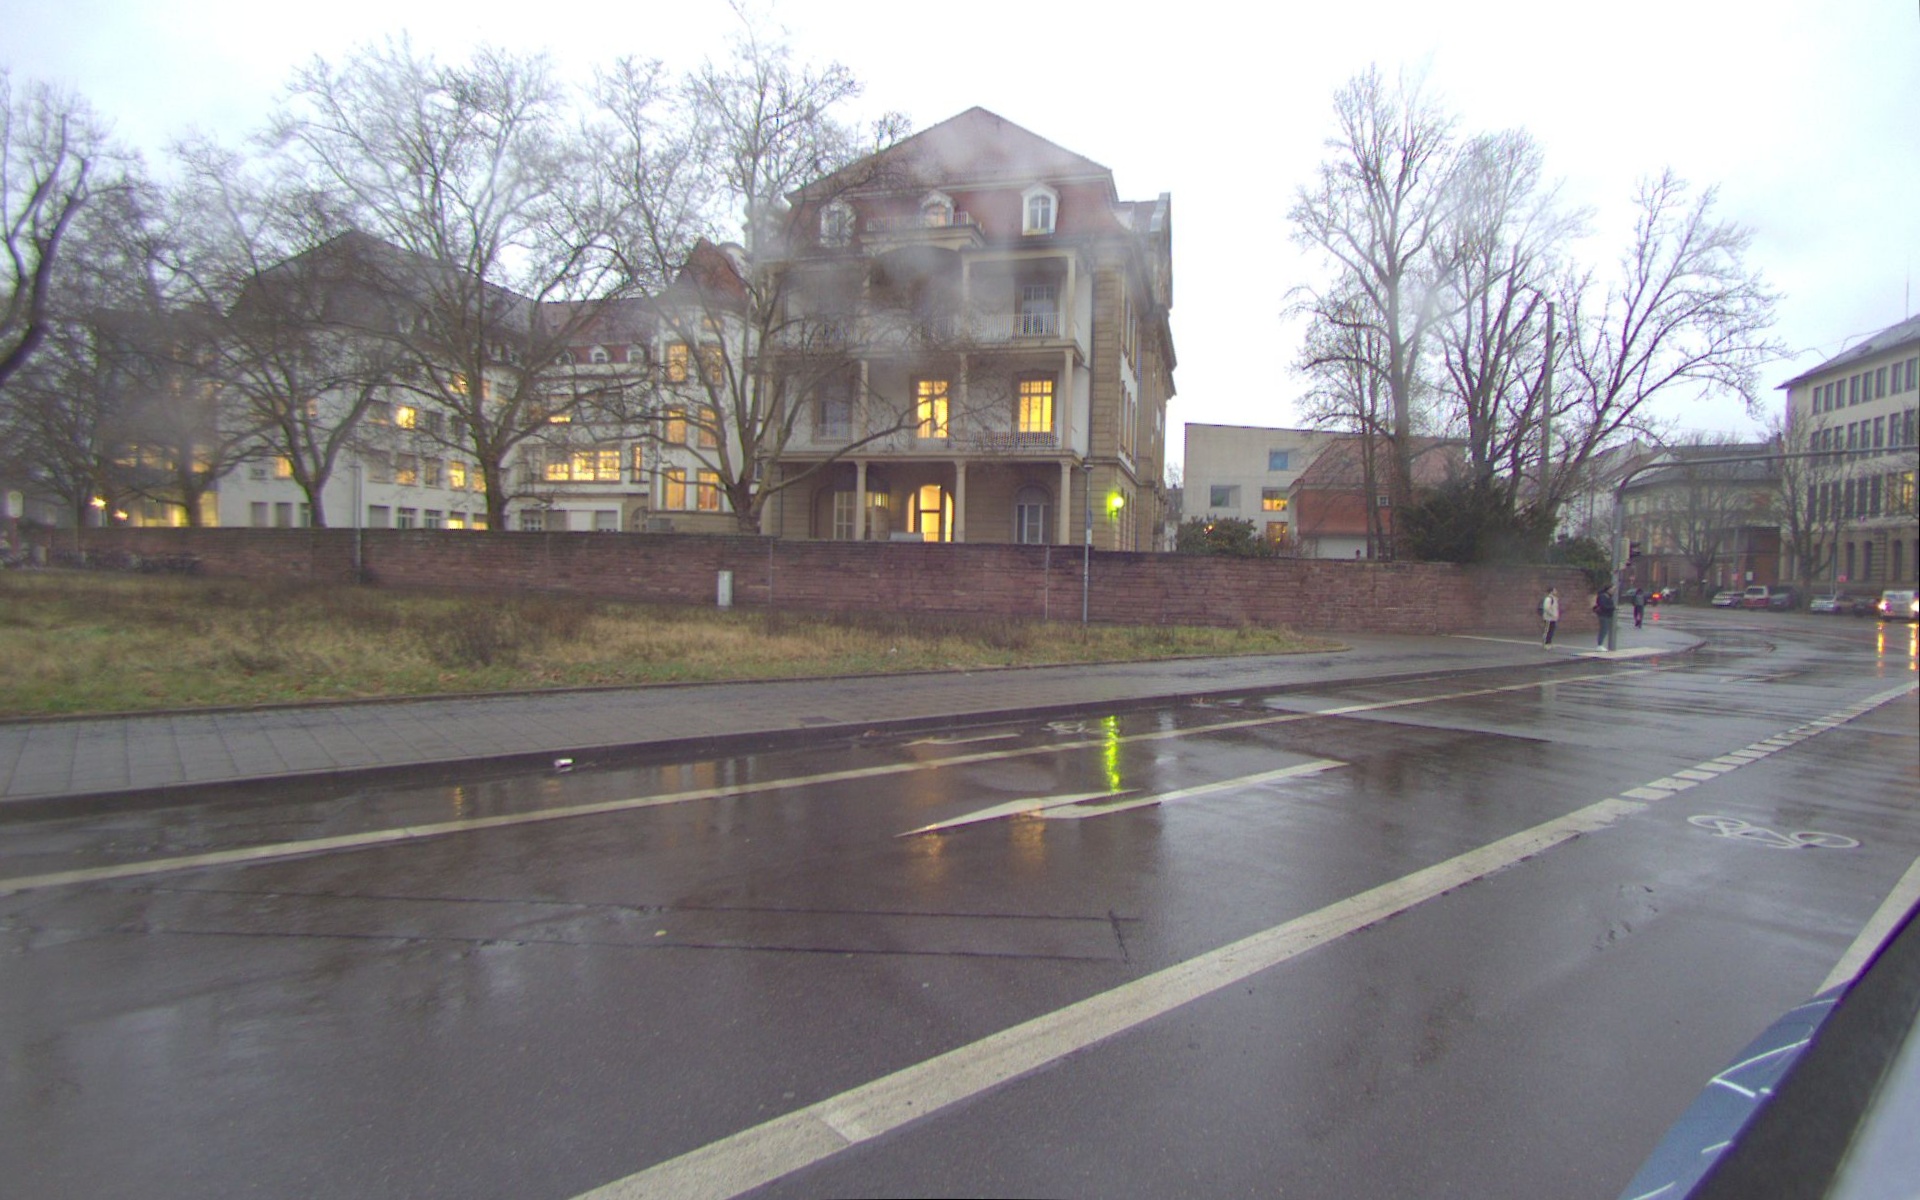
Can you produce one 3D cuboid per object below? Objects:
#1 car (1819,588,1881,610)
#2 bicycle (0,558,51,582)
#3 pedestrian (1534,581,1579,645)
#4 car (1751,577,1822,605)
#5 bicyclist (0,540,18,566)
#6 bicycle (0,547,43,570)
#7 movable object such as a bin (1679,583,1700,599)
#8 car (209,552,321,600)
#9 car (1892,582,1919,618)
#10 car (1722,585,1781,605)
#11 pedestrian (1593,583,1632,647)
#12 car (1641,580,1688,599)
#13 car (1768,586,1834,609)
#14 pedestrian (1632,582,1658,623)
[{"bbox_3d":[63.581,-0.077,72.312,3.746,1.475,1.641,-2,2,-18],"label":"car"},{"bbox_3d":[-41.599,-1.311,44.514,2.371,1.003,0.479,-3,2,-41],"label":"bicycle"},{"bbox_3d":[16.619,0.341,28.237,0.953,1.696,0.772,3,2,28],"label":"pedestrian"},{"bbox_3d":[65.403,-0.755,80.117,4.526,2.079,1.970,-1,2,-12],"label":"car"},{"bbox_3d":[-41.735,-2.053,44.293,0.689,1.093,0.494,-2,2,-40],"label":"bicyclist"},{"bbox_3d":[-42.264,-1.838,44.840,2.371,1.003,0.537,-3,2,-41],"label":"bicycle"},{"bbox_3d":[69.487,-0.850,96.412,0.966,1.482,1.347,-1,2,-22],"label":"movable object such as a bin"},{"bbox_3d":[-15.725,-0.560,23.006,1.275,0.989,2.688,2,2,-16],"label":"car"},{"bbox_3d":[59.284,-0.032,61.602,4.704,2.058,1.917,-2,2,-22],"label":"car"},{"bbox_3d":[67.040,-0.446,85.725,4.097,1.610,1.779,-1,2,-14],"label":"car"},{"bbox_3d":[18.213,0.399,28.241,0.788,1.696,0.720,4,3,37],"label":"pedestrian"},{"bbox_3d":[58.942,-0.862,84.761,1.727,1.395,4.348,3,3,14],"label":"car"},{"bbox_3d":[64.085,-0.213,77.116,3.894,1.558,1.828,-1,2,-12],"label":"car"},{"bbox_3d":[30.184,0.097,44.610,0.802,1.705,1.143,4,2,33],"label":"pedestrian"}]
